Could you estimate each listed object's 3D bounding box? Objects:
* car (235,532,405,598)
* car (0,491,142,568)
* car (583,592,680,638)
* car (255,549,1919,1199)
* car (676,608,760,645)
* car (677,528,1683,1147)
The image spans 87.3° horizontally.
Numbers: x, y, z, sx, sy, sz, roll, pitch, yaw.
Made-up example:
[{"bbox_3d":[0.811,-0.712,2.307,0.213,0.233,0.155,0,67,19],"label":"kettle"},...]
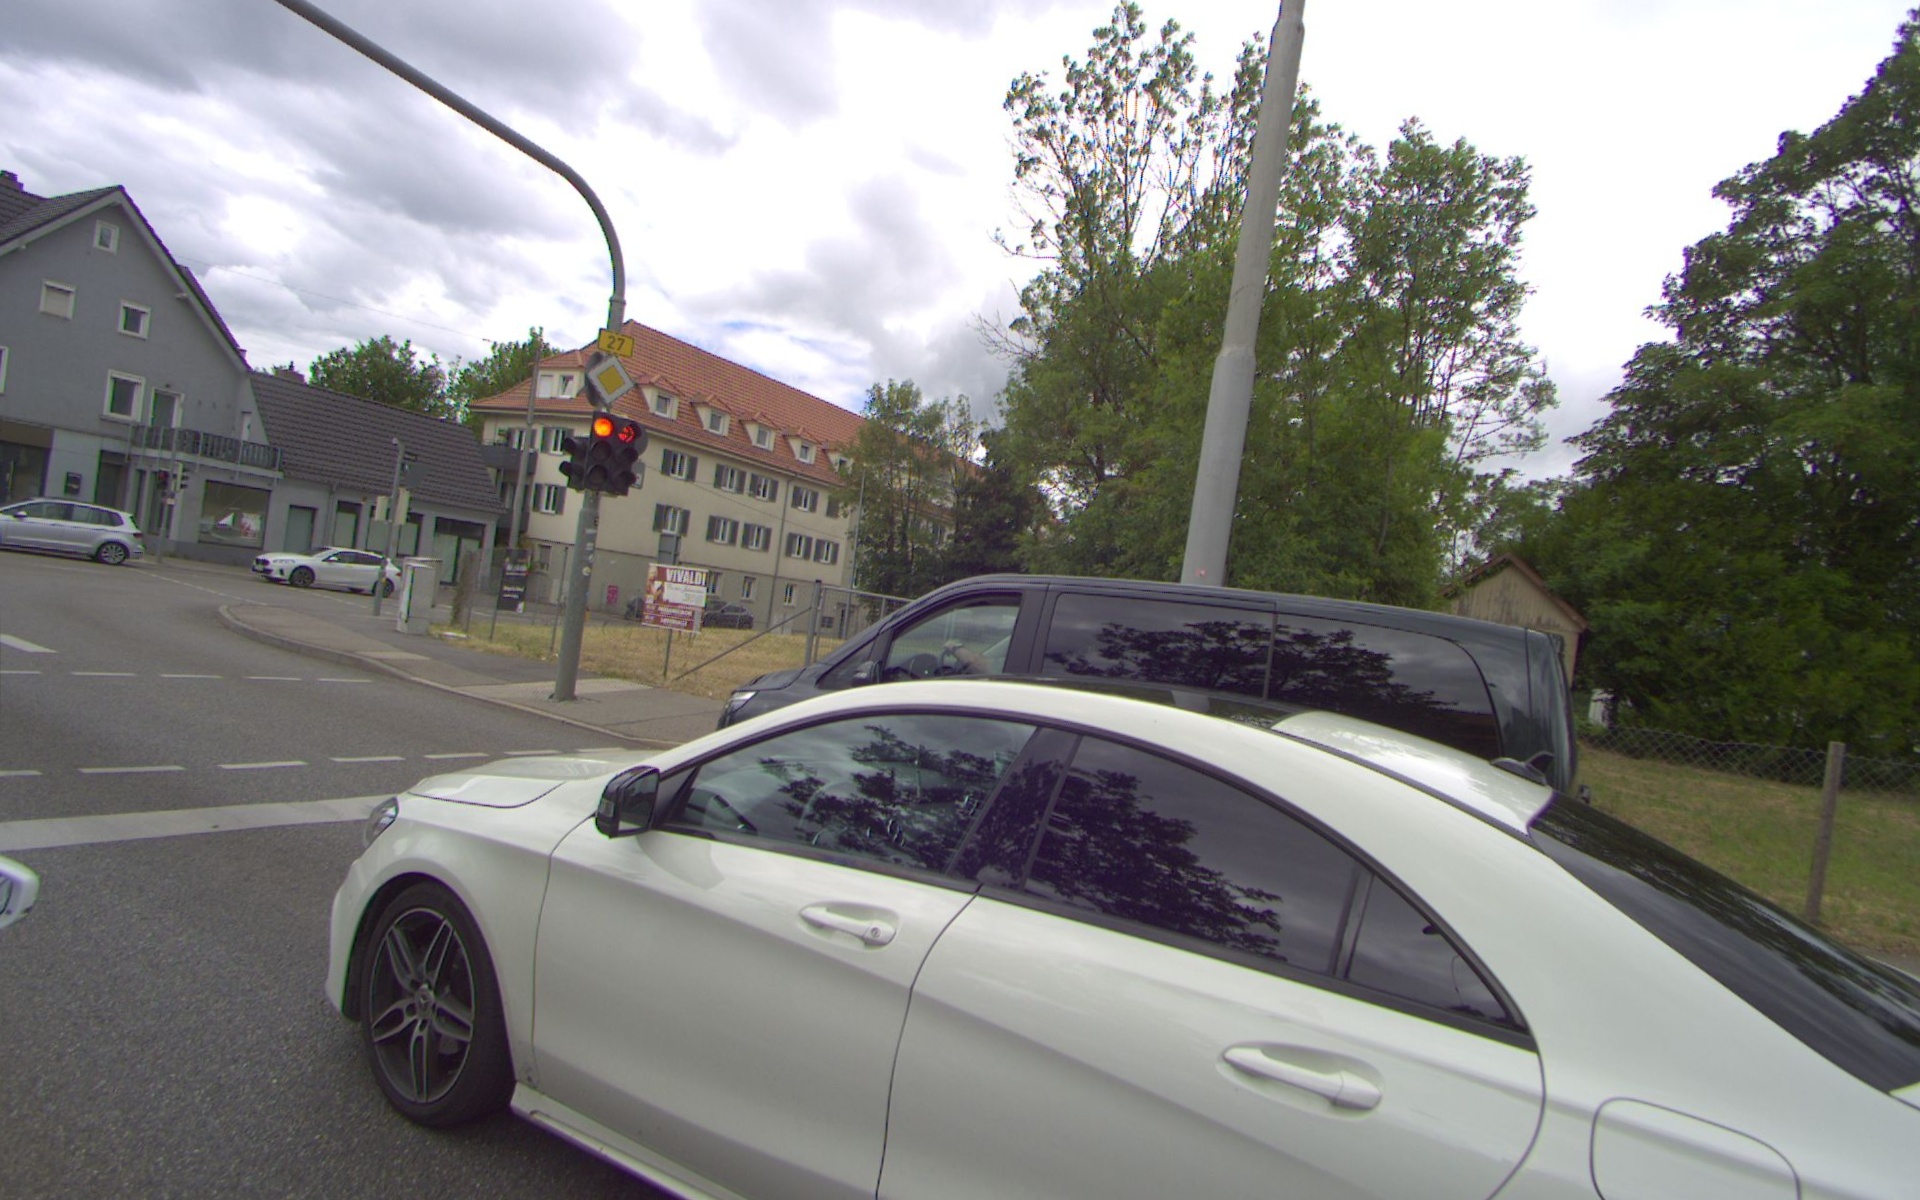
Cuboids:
[{"bbox_3d":[-21.276,-1.121,33.629,1.966,1.494,4.252,7,-2,30],"label":"car"},{"bbox_3d":[-24.958,-1.992,27.113,1.801,1.557,4.104,7,-3,37],"label":"car"},{"bbox_3d":[-15.523,0.734,47.665,1.839,1.554,3.996,7,-2,32],"label":"car"},{"bbox_3d":[0.158,0.843,2.646,4.305,1.451,1.651,7,0,32],"label":"car"},{"bbox_3d":[-12.629,1.397,52.654,1.839,1.393,3.996,7,-2,32],"label":"car"},{"bbox_3d":[0.917,0.836,5.523,4.631,1.860,1.953,7,-2,32],"label":"car"}]
